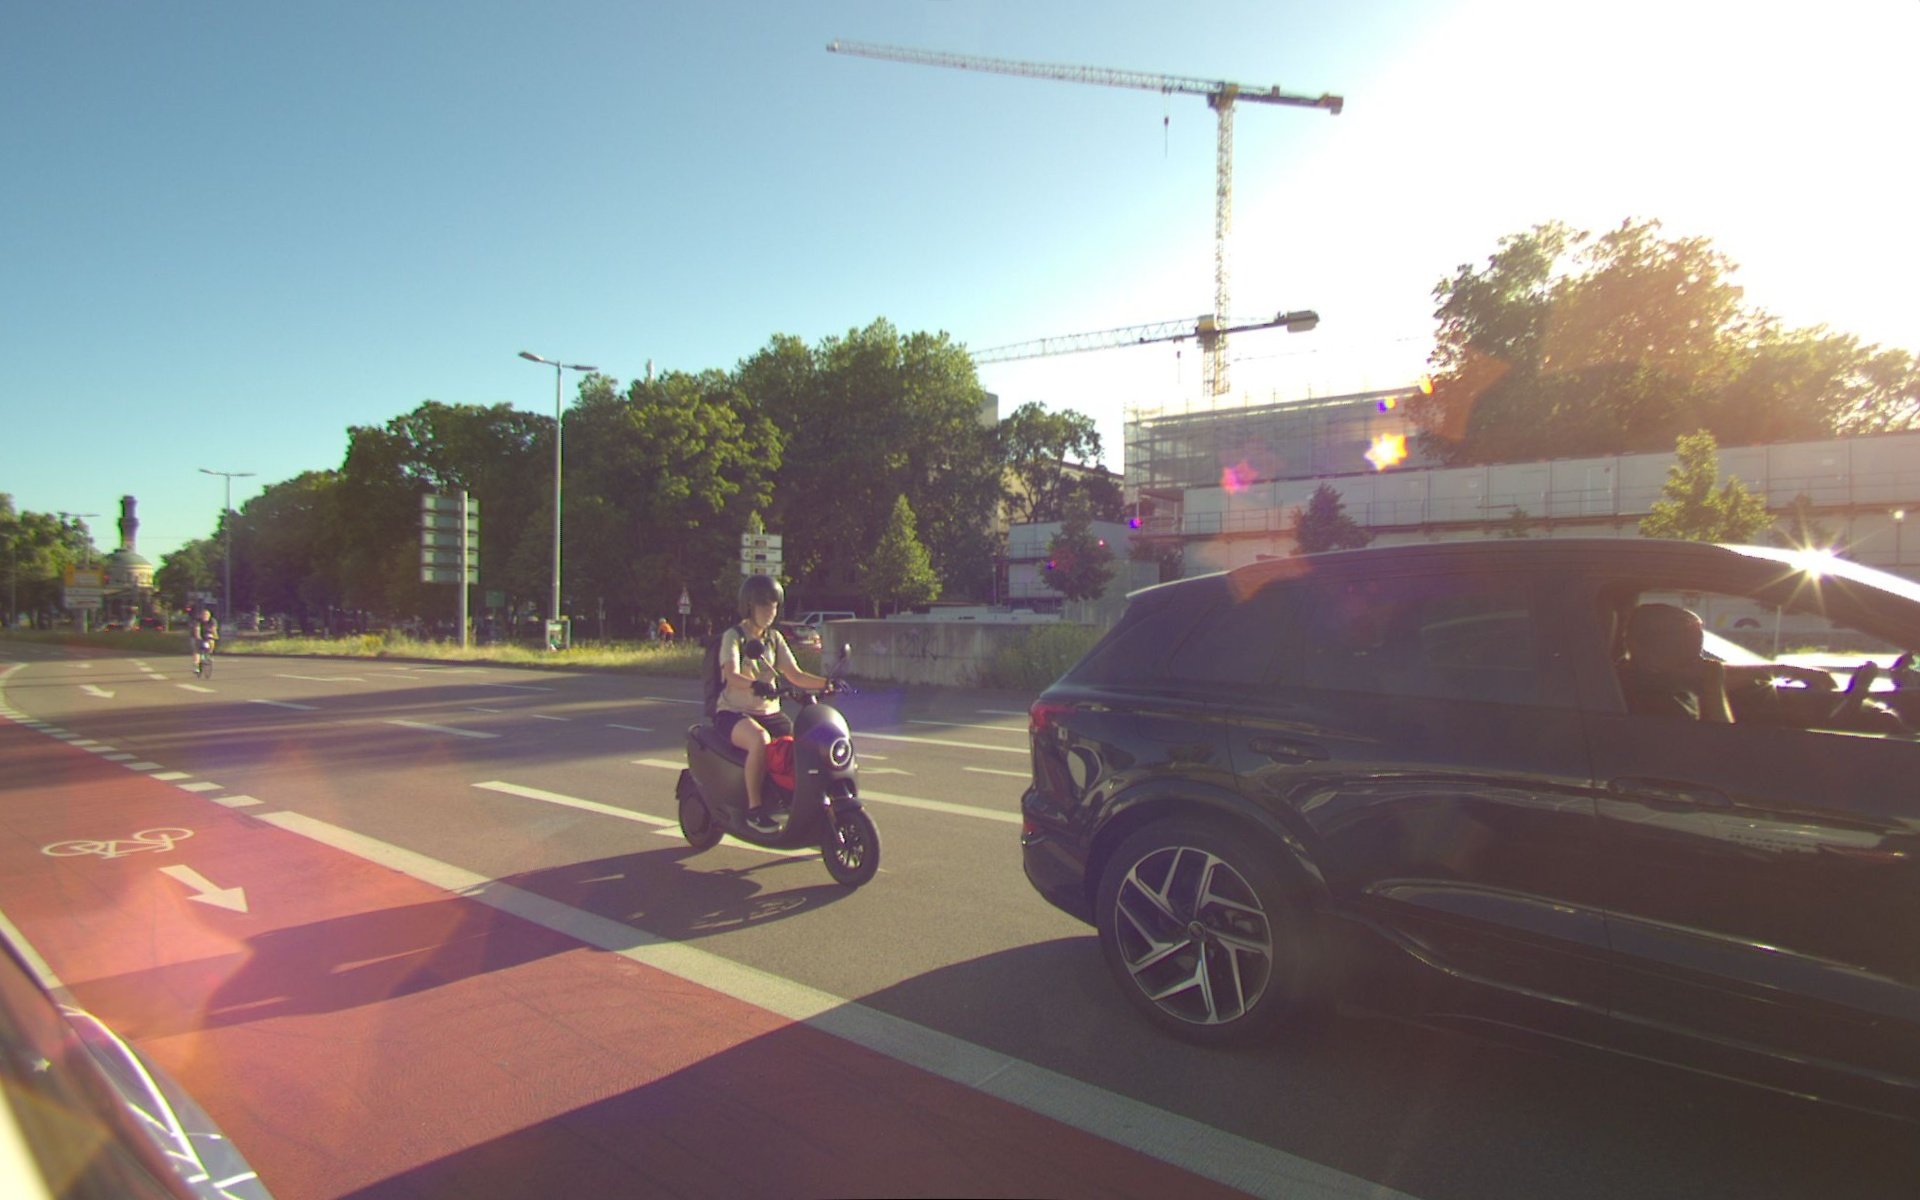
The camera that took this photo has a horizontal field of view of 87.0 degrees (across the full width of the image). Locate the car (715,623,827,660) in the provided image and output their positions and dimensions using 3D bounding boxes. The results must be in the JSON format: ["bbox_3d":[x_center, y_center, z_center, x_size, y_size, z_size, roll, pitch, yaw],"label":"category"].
[{"bbox_3d":[-6.269,1.335,33.368,3.767,1.141,1.598,-1,-1,40],"label":"car"}]

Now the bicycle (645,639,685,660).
[{"bbox_3d":[-12.075,2.030,41.346,1.979,0.810,0.609,-1,-2,41],"label":"bicycle"}]

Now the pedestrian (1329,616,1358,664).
[{"bbox_3d":[12.755,1.324,33.673,0.654,1.601,0.829,-1,-2,41],"label":"pedestrian"}]

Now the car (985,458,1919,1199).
[{"bbox_3d":[2.623,0.552,3.104,4.786,1.675,2.172,-1,-2,39],"label":"car"}]

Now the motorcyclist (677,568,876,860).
[{"bbox_3d":[-1.056,0.593,5.783,0.746,1.495,0.882,0,-1,-45],"label":"motorcyclist"}]

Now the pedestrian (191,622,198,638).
[{"bbox_3d":[-95.377,3.750,126.040,0.594,2.029,0.519,-1,-2,38],"label":"pedestrian"}]

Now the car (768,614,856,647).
[{"bbox_3d":[-9.005,1.864,61.813,2.000,1.906,5.256,-2,-3,42],"label":"car"}]

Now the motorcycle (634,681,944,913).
[{"bbox_3d":[-1.041,1.010,5.760,0.746,0.976,1.961,0,-1,-45],"label":"motorcycle"}]

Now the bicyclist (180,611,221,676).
[{"bbox_3d":[-18.194,1.039,24.229,0.937,1.515,0.616,-1,-1,42],"label":"bicyclist"}]

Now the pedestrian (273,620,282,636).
[{"bbox_3d":[-86.475,3.499,128.249,0.691,2.029,0.691,-1,-2,24],"label":"pedestrian"}]

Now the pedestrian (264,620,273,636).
[{"bbox_3d":[-87.010,3.505,127.353,0.691,2.029,0.691,-1,-2,24],"label":"pedestrian"}]

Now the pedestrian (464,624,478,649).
[{"bbox_3d":[-33.617,2.504,69.573,0.697,1.740,0.656,-1,-2,41],"label":"pedestrian"}]

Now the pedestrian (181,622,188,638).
[{"bbox_3d":[-98.703,3.794,128.800,0.594,2.029,0.519,-1,-2,38],"label":"pedestrian"}]

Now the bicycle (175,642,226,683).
[{"bbox_3d":[-18.209,1.477,24.248,1.910,0.915,0.616,-1,-1,42],"label":"bicycle"}]

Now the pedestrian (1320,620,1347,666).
[{"bbox_3d":[12.172,1.400,33.012,0.654,1.464,0.596,-1,-2,41],"label":"pedestrian"}]

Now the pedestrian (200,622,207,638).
[{"bbox_3d":[-94.814,3.743,126.807,0.594,2.029,0.519,-1,-2,38],"label":"pedestrian"}]

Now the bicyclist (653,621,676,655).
[{"bbox_3d":[-12.083,1.560,41.364,0.768,1.377,0.609,-1,-2,41],"label":"bicyclist"}]

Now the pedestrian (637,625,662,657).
[{"bbox_3d":[-17.655,2.332,57.594,0.964,1.796,0.984,-1,0,41],"label":"pedestrian"}]

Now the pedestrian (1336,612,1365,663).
[{"bbox_3d":[13.311,1.267,34.510,0.654,1.693,0.829,-1,-2,41],"label":"pedestrian"}]

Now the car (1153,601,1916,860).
[{"bbox_3d":[3.856,0.717,7.469,4.523,1.362,1.753,-1,-1,41],"label":"car"}]
